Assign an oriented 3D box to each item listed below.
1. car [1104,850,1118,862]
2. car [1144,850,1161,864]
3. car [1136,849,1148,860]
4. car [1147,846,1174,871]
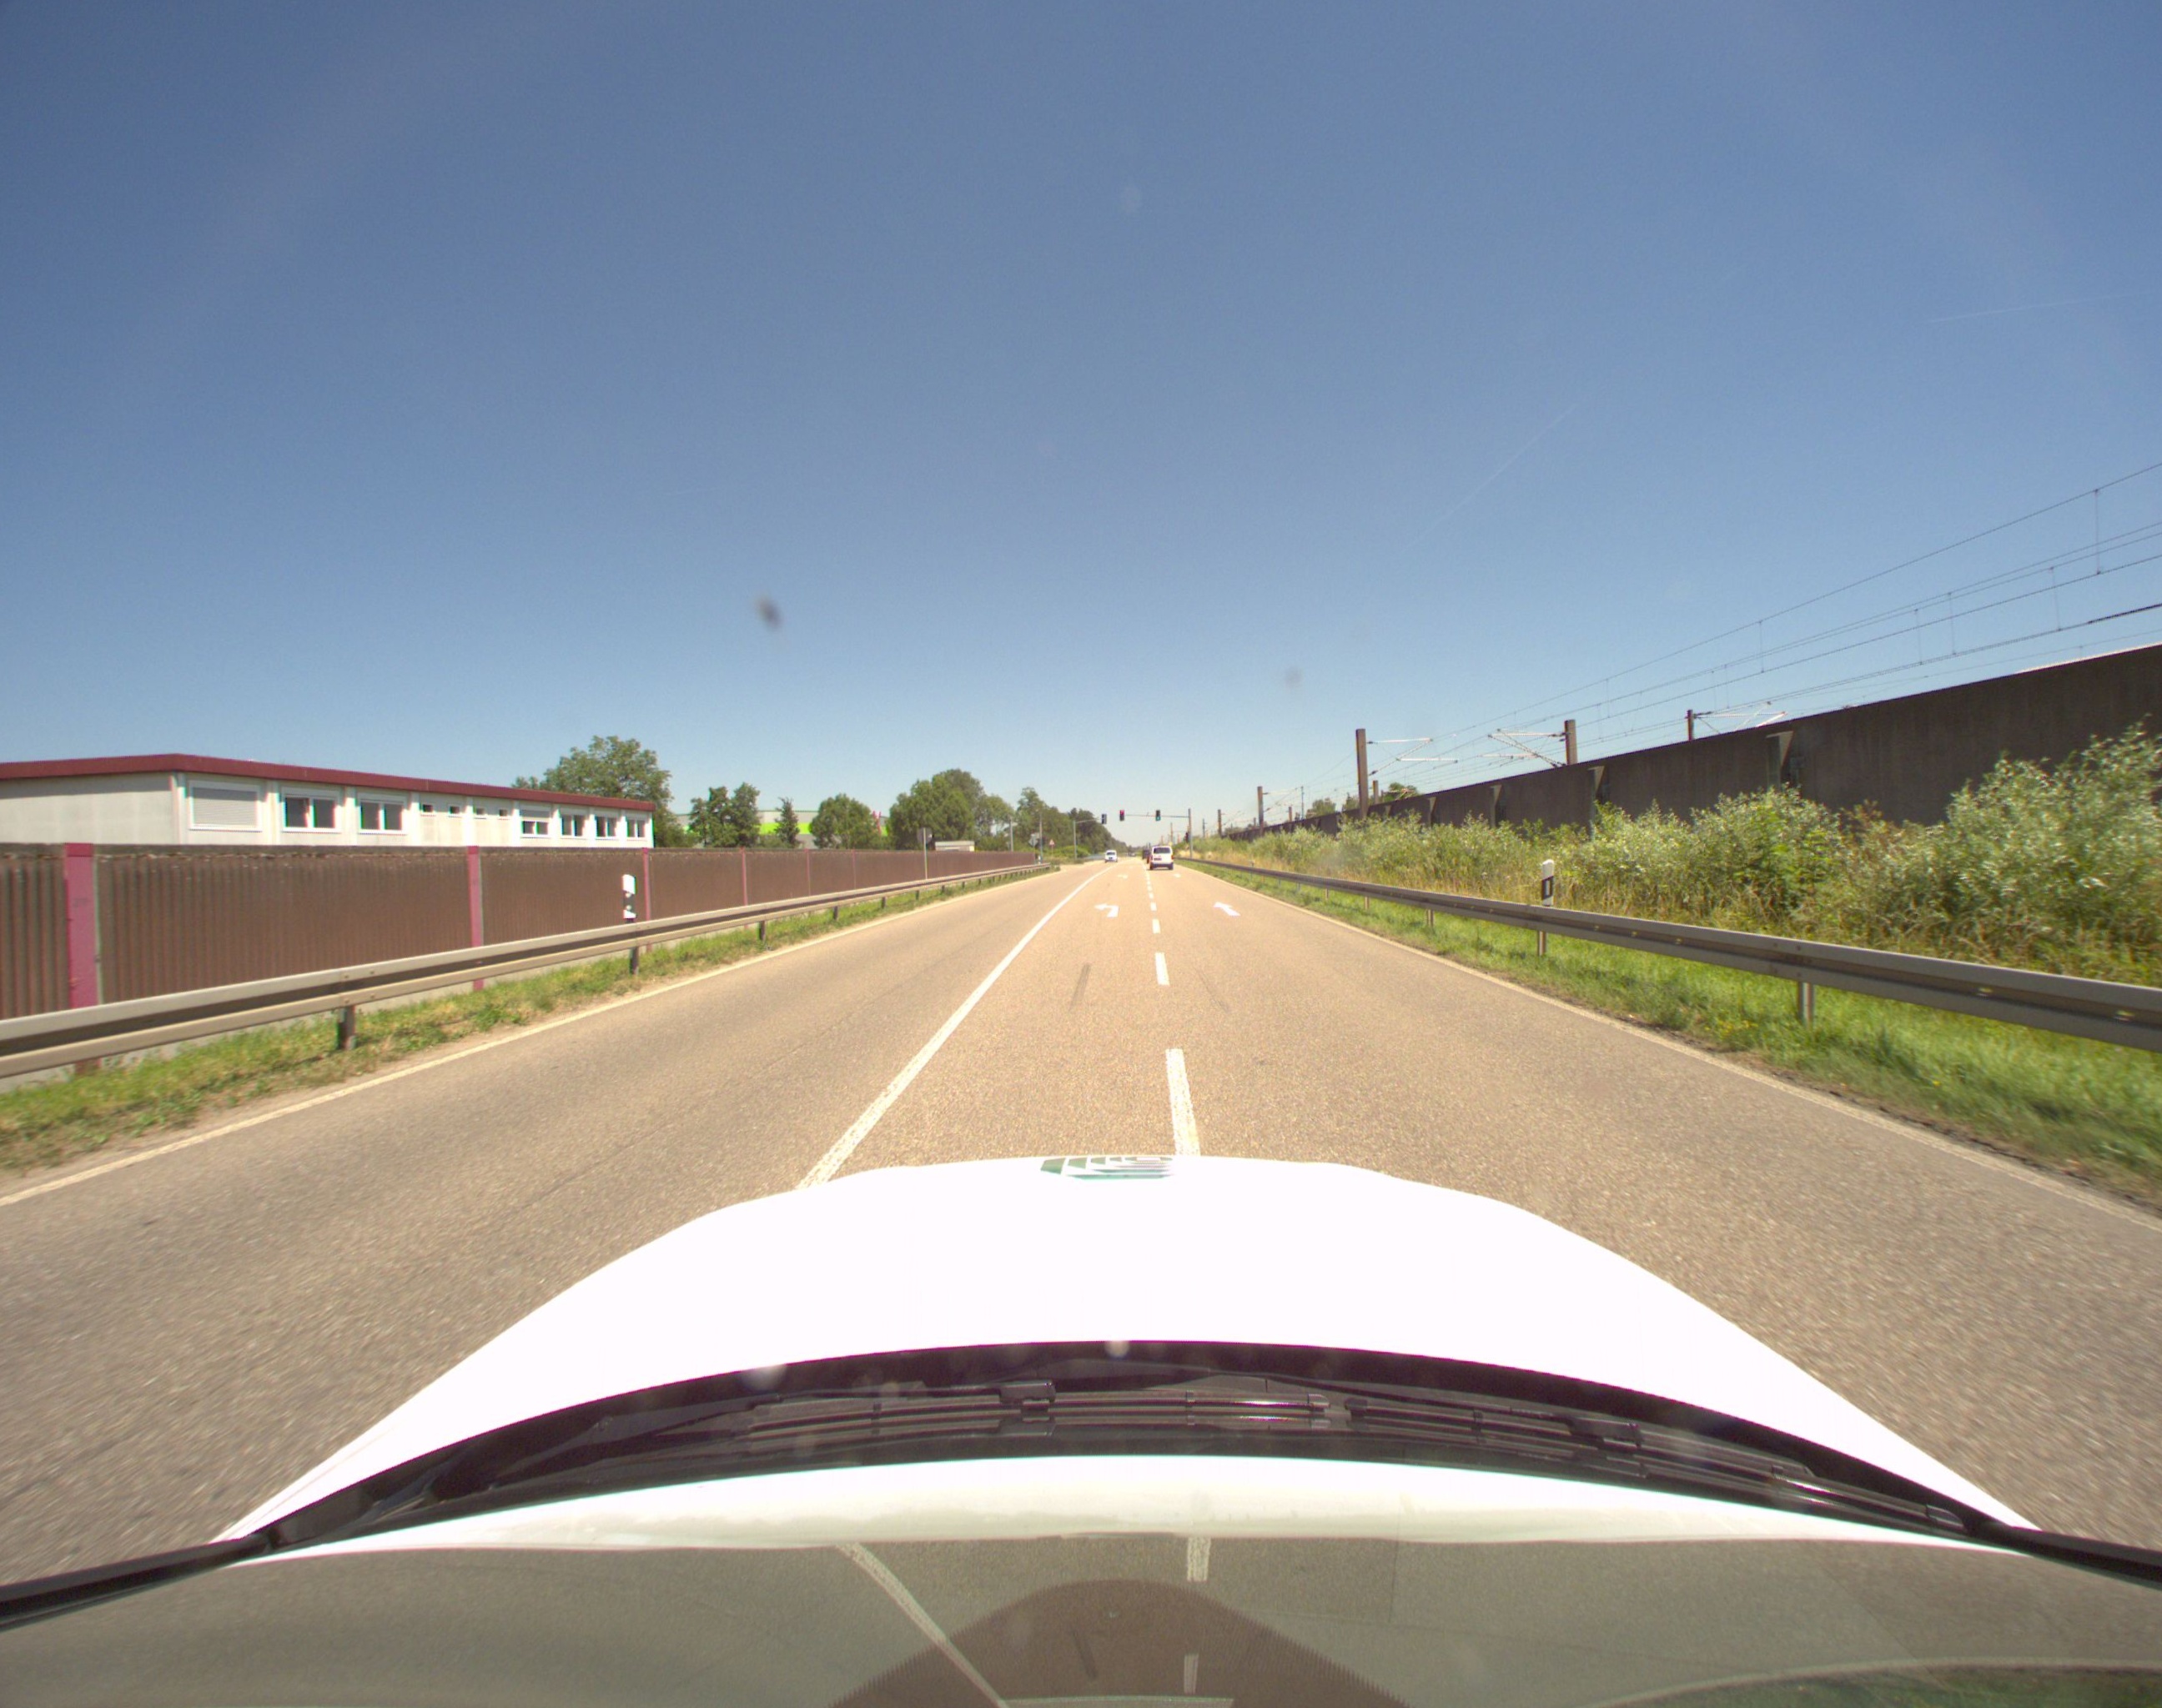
[{"bbox_3d":[4.509,0.232,123.824,1.882,1.740,4.774,-1,0,-1],"label":"car"},{"bbox_3d":[9.253,0.361,106.124,2.012,1.726,4.545,-1,0,2],"label":"car"},{"bbox_3d":[11.915,0.094,158.839,2.146,1.968,4.545,-1,0,2],"label":"car"},{"bbox_3d":[6.485,0.318,67.061,1.985,1.983,4.063,-1,0,3],"label":"car"}]
